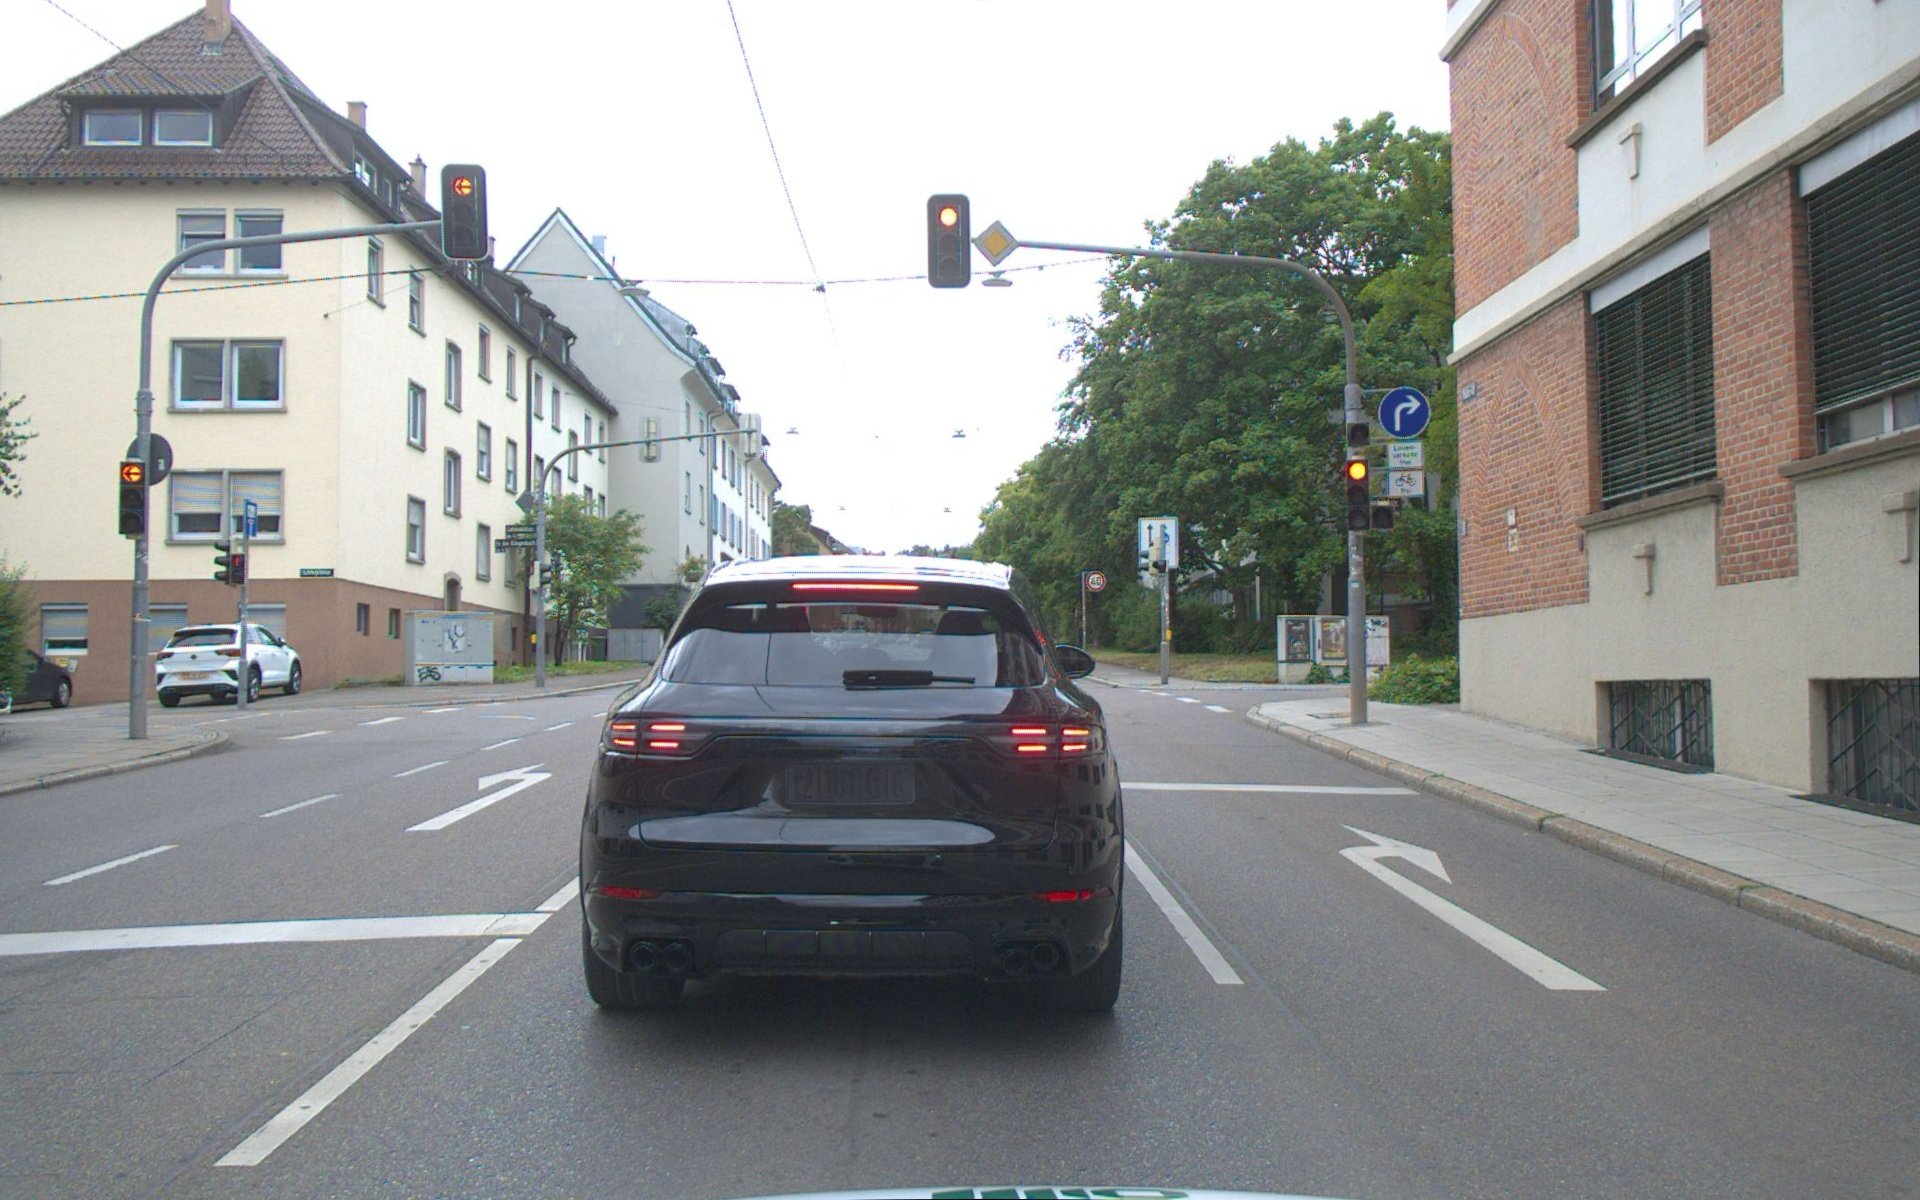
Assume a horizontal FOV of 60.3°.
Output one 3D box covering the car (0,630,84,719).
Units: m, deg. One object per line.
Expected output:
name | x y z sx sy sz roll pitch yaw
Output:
car | -19.628 1.516 33.758 1.658 1.636 3.762 -3 0 -5

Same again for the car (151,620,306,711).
car | -14.723 1.270 33.488 1.658 1.582 3.762 -3 0 -5

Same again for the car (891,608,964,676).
car | -0.840 1.071 43.796 1.790 1.633 4.134 1 0 -1

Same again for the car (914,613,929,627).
car | -4.745 2.429 202.838 1.790 1.633 4.134 1 0 -1

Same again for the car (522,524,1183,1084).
car | -0.348 0.625 7.239 2.007 1.695 4.266 1 0 -1

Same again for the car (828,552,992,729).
car | -0.616 0.477 21.884 1.925 2.078 4.134 1 0 -1

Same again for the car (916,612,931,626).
car | -4.674 2.377 210.166 1.790 1.633 4.134 1 0 -1

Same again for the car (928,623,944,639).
car | -2.623 3.410 182.396 1.790 1.633 4.134 1 0 -1

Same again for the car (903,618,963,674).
car | -0.847 1.423 52.509 1.790 1.633 3.858 1 0 -1

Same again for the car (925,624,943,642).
car | -2.548 3.248 163.223 1.790 1.633 4.134 1 0 -1

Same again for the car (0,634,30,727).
car | -16.702 1.283 25.264 3.975 1.417 1.695 -1 0 -4
